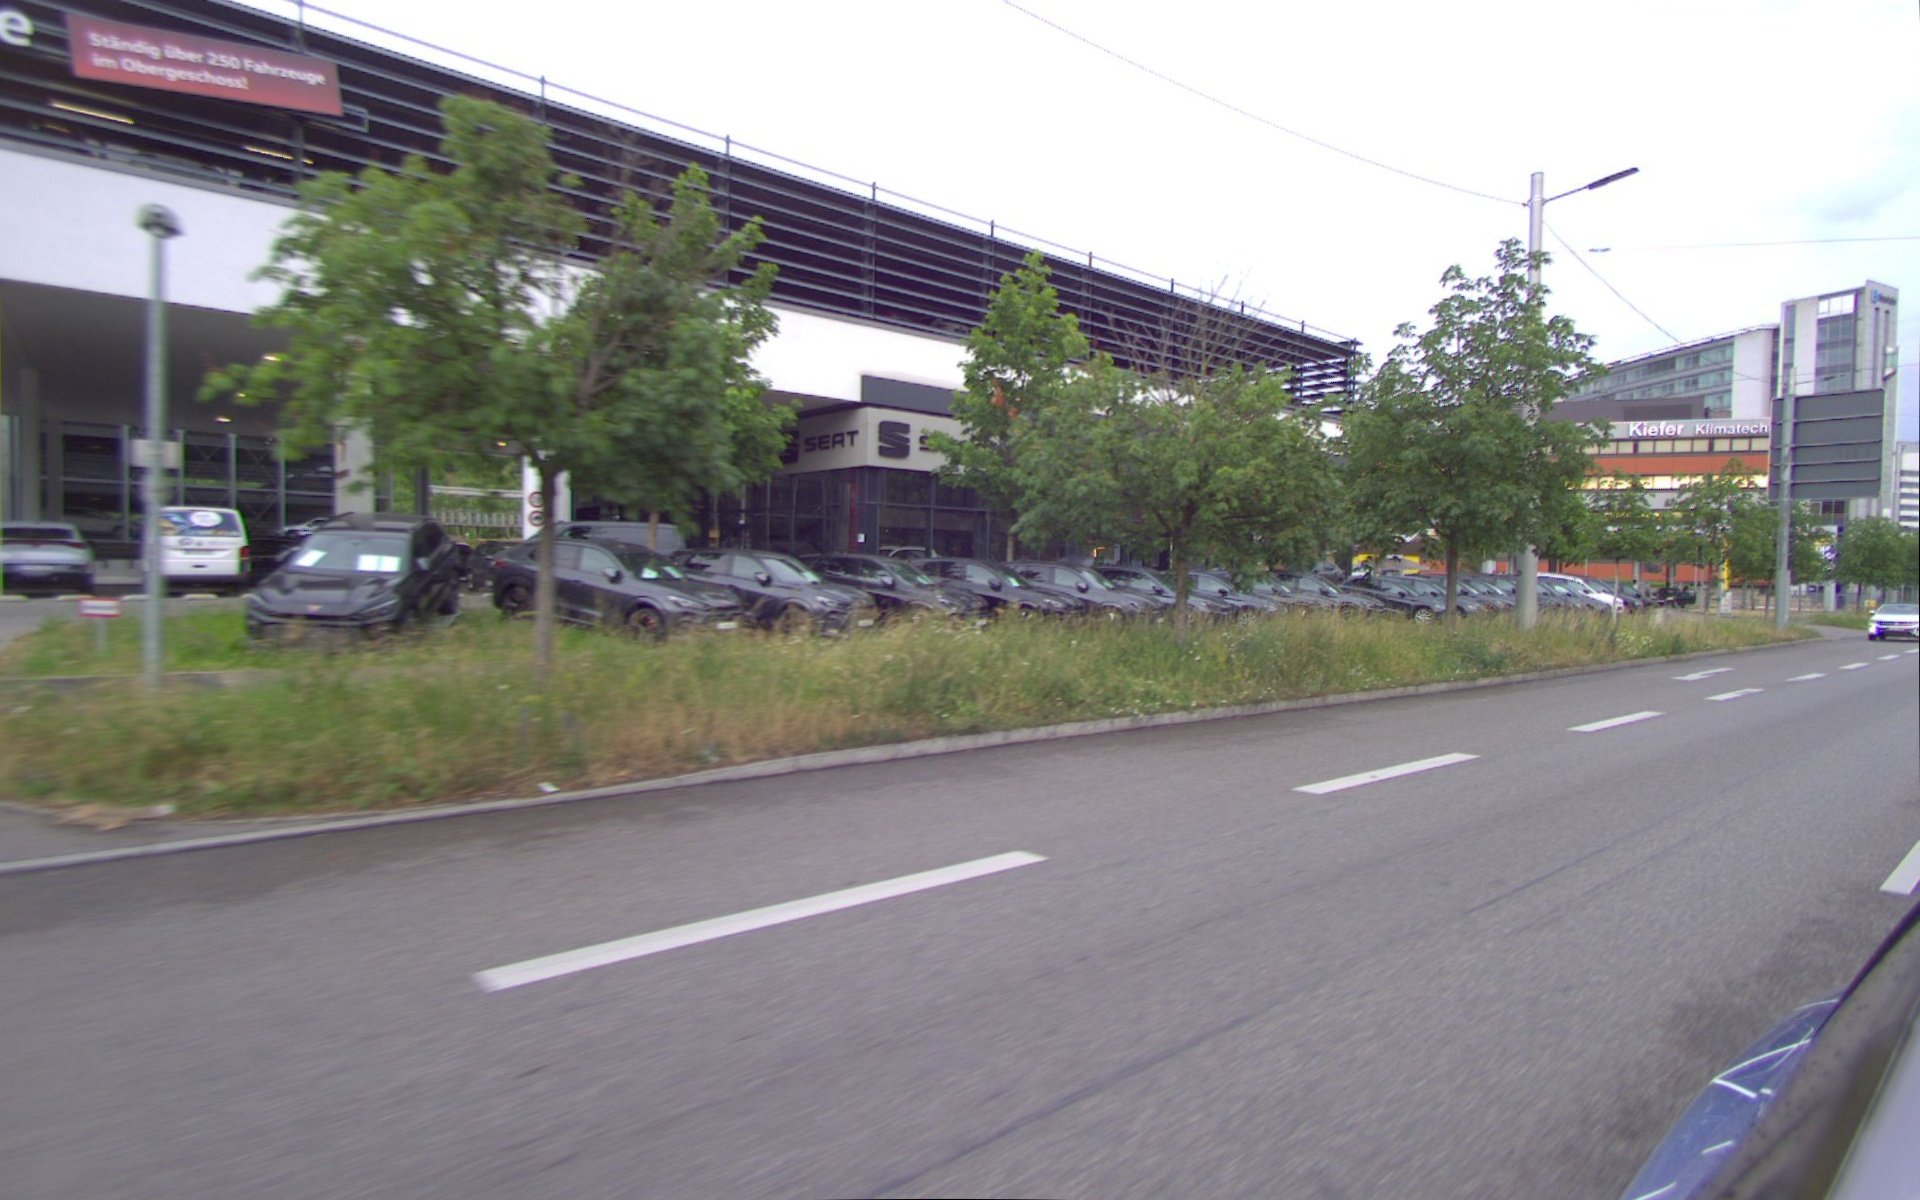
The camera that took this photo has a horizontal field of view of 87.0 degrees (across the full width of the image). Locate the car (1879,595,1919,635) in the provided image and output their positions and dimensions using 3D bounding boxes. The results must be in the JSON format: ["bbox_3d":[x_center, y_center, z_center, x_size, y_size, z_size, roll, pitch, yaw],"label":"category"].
[{"bbox_3d":[38.396,0.595,40.483,3.767,1.513,1.878,0,1,-39],"label":"car"}]

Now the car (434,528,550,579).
[{"bbox_3d":[-19.539,-1.960,42.328,4.027,2.038,1.998,-2,3,-40],"label":"car"}]

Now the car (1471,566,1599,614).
[{"bbox_3d":[24.493,-0.468,43.185,4.477,1.773,1.797,4,3,37],"label":"car"}]

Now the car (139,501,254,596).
[{"bbox_3d":[-17.713,-1.180,23.403,1.910,2.000,4.035,0,3,-40],"label":"car"}]

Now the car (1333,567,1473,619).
[{"bbox_3d":[15.015,-0.283,34.400,4.038,1.520,1.663,5,3,39],"label":"car"}]

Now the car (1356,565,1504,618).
[{"bbox_3d":[16.743,-0.353,36.161,4.479,1.588,1.796,5,3,39],"label":"car"}]

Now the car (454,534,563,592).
[{"bbox_3d":[-12.948,-1.068,28.917,1.694,1.532,4.039,0,3,-42],"label":"car"}]

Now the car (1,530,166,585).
[{"bbox_3d":[-28.196,-1.351,32.698,3.929,1.611,1.809,0,2,-40],"label":"car"}]

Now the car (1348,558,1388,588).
[{"bbox_3d":[24.847,-1.630,61.774,1.820,1.664,4.293,2,1,17],"label":"car"}]

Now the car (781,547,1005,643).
[{"bbox_3d":[-1.352,-0.168,20.324,4.111,1.624,1.811,4,3,26],"label":"car"}]

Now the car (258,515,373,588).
[{"bbox_3d":[-15.940,-1.193,24.957,1.871,1.652,3.996,0,3,-40],"label":"car"}]

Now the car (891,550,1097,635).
[{"bbox_3d":[0.738,-0.221,22.178,4.111,1.588,1.811,4,3,26],"label":"car"}]

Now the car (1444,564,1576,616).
[{"bbox_3d":[22.434,-0.454,41.375,4.477,1.817,1.797,4,3,37],"label":"car"}]

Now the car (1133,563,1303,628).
[{"bbox_3d":[6.999,-0.174,27.528,4.120,1.476,1.775,4,3,31],"label":"car"}]

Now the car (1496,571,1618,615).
[{"bbox_3d":[26.354,-0.356,44.748,4.474,1.657,1.798,4,3,36],"label":"car"}]

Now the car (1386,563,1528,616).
[{"bbox_3d":[18.597,-0.427,37.973,4.479,1.683,1.796,5,3,39],"label":"car"}]

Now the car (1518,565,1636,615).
[{"bbox_3d":[28.219,-0.496,46.395,4.468,2.015,1.801,4,3,32],"label":"car"}]

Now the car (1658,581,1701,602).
[{"bbox_3d":[53.871,-0.649,75.744,3.716,1.436,1.783,0,3,-41],"label":"car"}]

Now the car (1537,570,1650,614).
[{"bbox_3d":[30.071,-0.427,48.071,4.366,1.811,1.854,4,3,36],"label":"car"}]

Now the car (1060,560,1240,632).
[{"bbox_3d":[4.824,-0.154,25.834,4.120,1.546,1.812,4,3,31],"label":"car"}]

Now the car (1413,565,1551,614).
[{"bbox_3d":[20.395,-0.440,39.652,4.483,1.638,1.794,5,4,41],"label":"car"}]

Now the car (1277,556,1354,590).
[{"bbox_3d":[16.682,-1.275,47.430,3.831,1.491,1.782,0,2,-42],"label":"car"}]

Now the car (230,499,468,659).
[{"bbox_3d":[-8.525,-0.375,14.609,1.786,1.899,4.734,2,3,-17],"label":"car"}]

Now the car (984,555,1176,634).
[{"bbox_3d":[2.839,-0.194,24.158,4.119,1.588,1.889,4,3,30],"label":"car"}]

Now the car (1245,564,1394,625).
[{"bbox_3d":[10.974,-0.216,30.959,4.025,1.595,1.714,4,3,31],"label":"car"}]

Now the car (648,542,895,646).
[{"bbox_3d":[-3.457,-0.176,18.545,4.108,1.581,1.855,4,3,24],"label":"car"}]

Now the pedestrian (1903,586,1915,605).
[{"bbox_3d":[95.509,-0.488,101.891,0.676,1.925,0.672,-1,-1,28],"label":"pedestrian"}]

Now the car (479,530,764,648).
[{"bbox_3d":[-5.603,-0.248,16.777,4.284,1.632,1.857,3,3,21],"label":"car"}]

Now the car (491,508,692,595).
[{"bbox_3d":[-9.161,-1.158,25.354,4.353,1.962,1.890,0,2,-42],"label":"car"}]

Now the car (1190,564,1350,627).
[{"bbox_3d":[8.993,-0.189,29.429,4.120,1.552,1.775,4,3,31],"label":"car"}]

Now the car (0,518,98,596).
[{"bbox_3d":[-20.017,-0.944,22.046,1.871,1.555,3.996,0,3,-40],"label":"car"}]
